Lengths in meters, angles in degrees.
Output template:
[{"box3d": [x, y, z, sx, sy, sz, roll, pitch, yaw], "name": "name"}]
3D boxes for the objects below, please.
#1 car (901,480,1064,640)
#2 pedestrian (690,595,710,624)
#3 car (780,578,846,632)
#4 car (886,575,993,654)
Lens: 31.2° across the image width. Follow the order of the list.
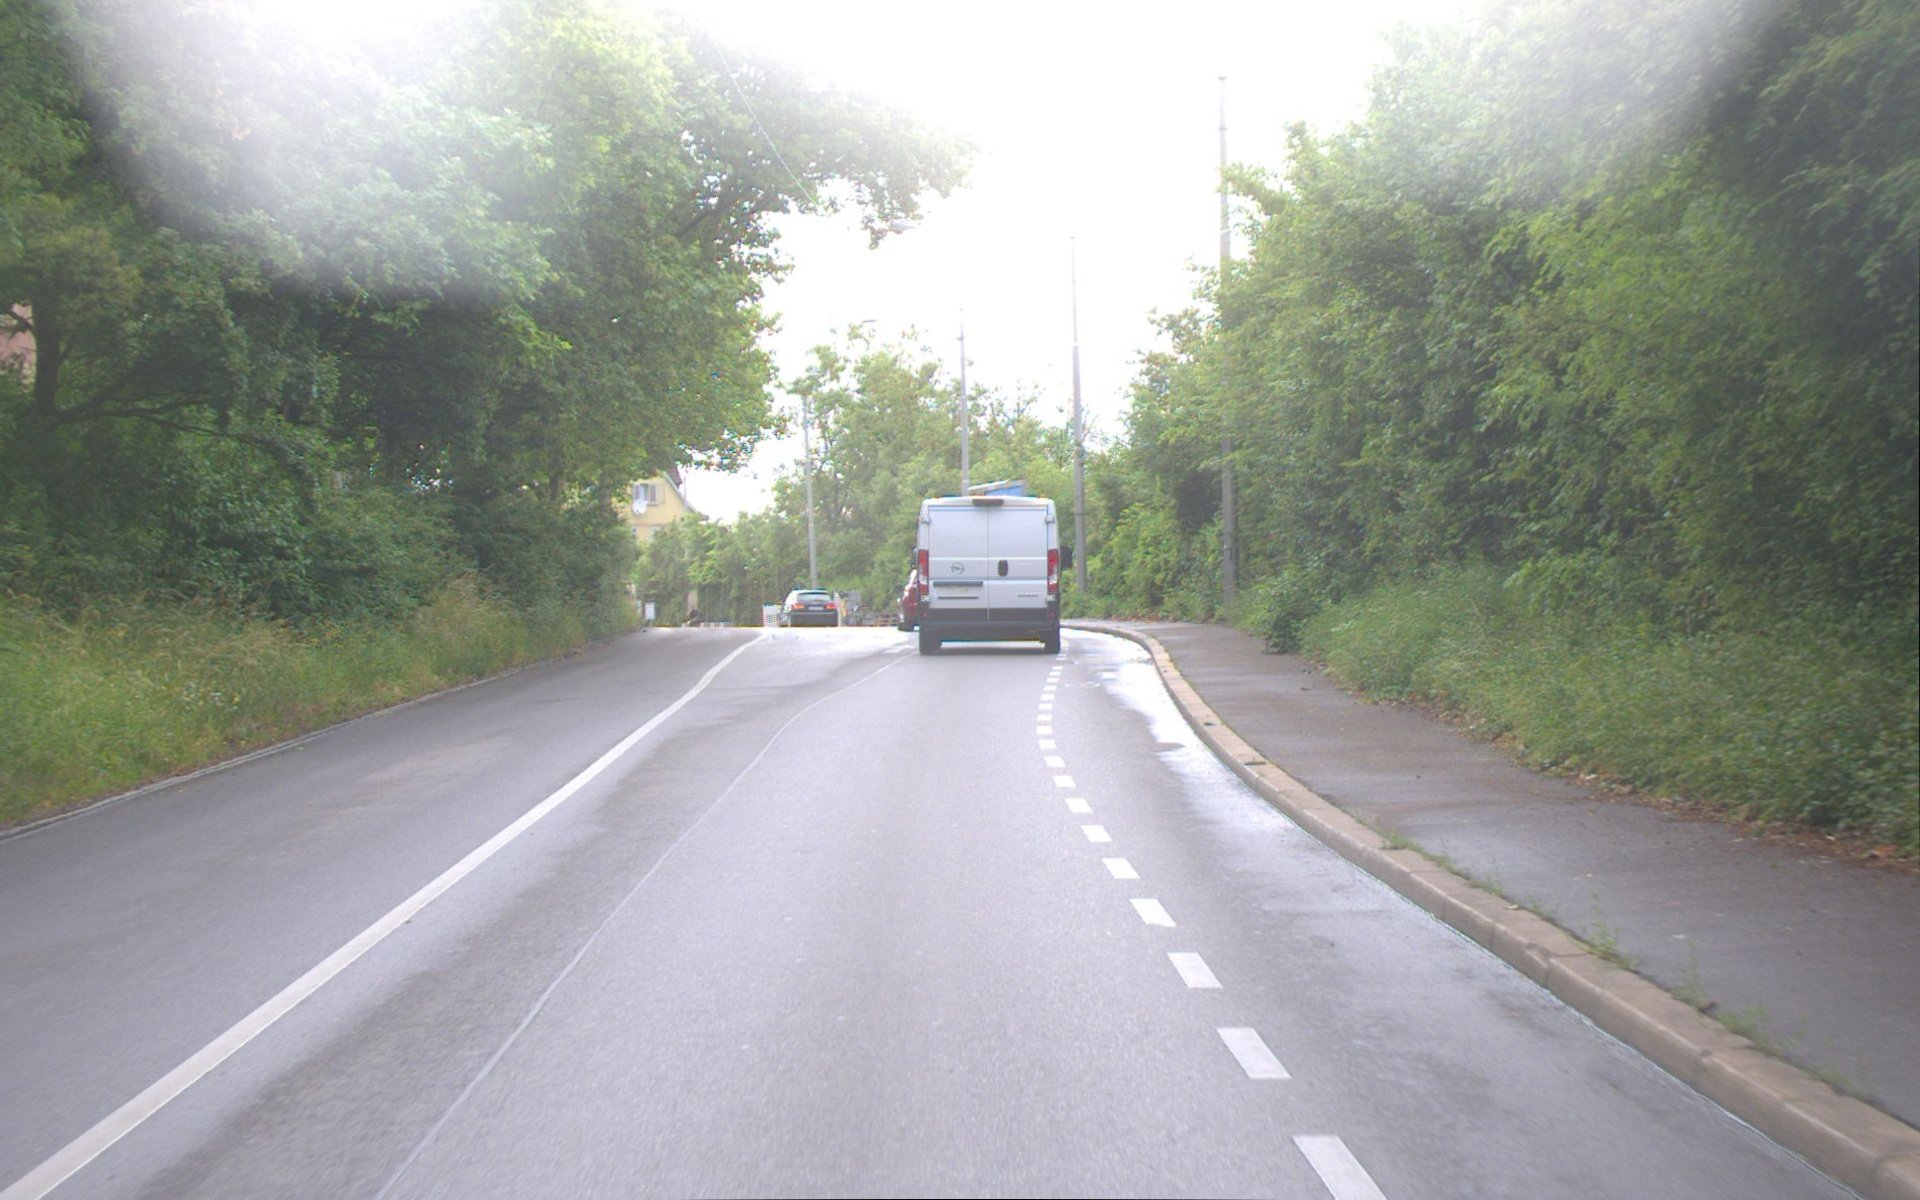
[{"box3d": [0.276, -0.592, 50.513, 2.237, 2.205, 4.714, 1, 1, -1], "name": "car"}, {"box3d": [-12.832, 0.469, 169.661, 0.878, 1.363, 1.066, 1, 1, -12], "name": "pedestrian"}, {"box3d": [-5.161, 0.153, 120.354, 2.237, 1.798, 4.714, 1, 1, -3], "name": "car"}, {"box3d": [-0.428, 0.293, 77.205, 2.237, 1.651, 4.713, 1, 1, 2], "name": "car"}]
